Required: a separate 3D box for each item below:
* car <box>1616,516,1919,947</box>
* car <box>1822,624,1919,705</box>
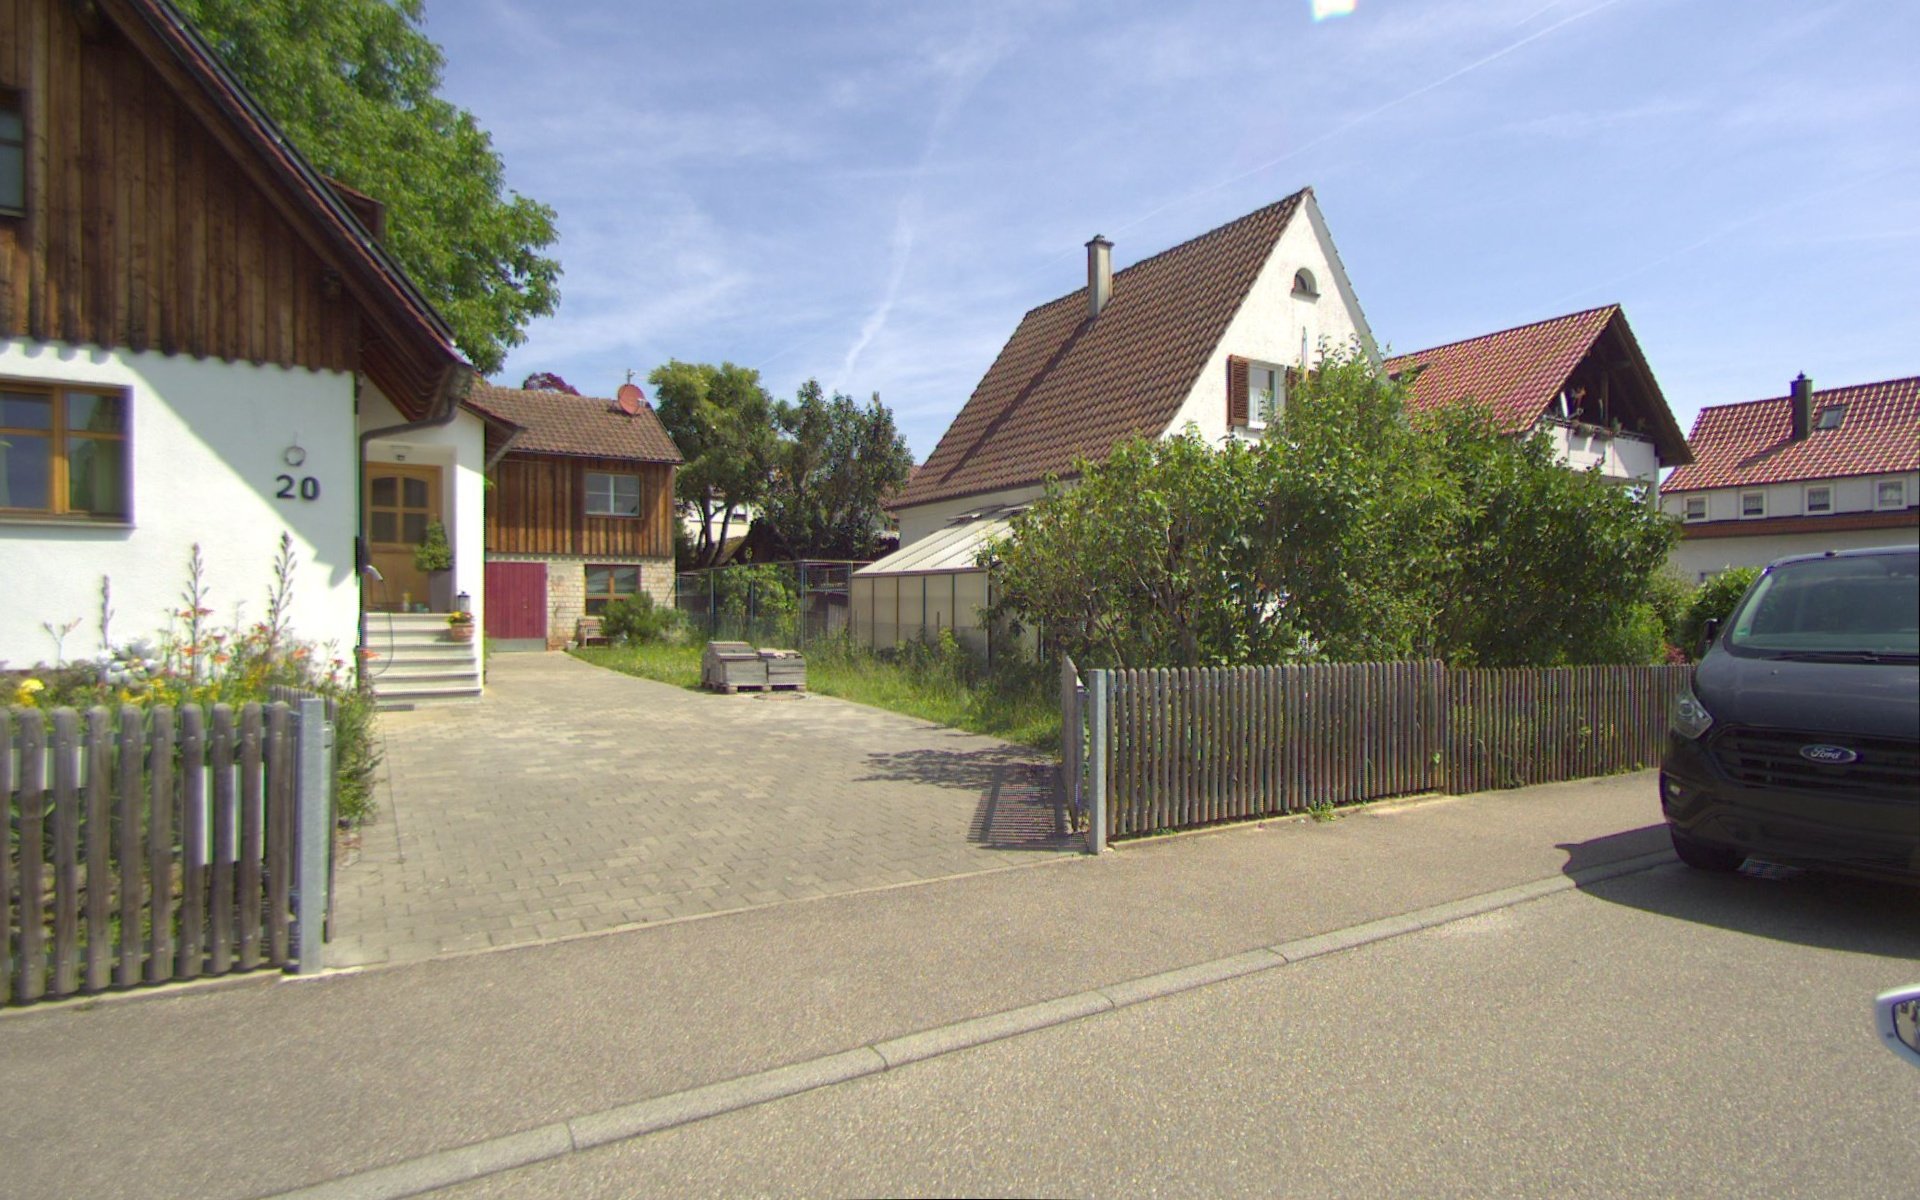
[{"bbox_3d":[6.185,0.649,6.161,4.646,1.977,1.957,1,-1,-33],"label":"car"},{"bbox_3d":[19.679,1.250,19.870,4.488,1.451,1.827,1,0,-16],"label":"car"}]
